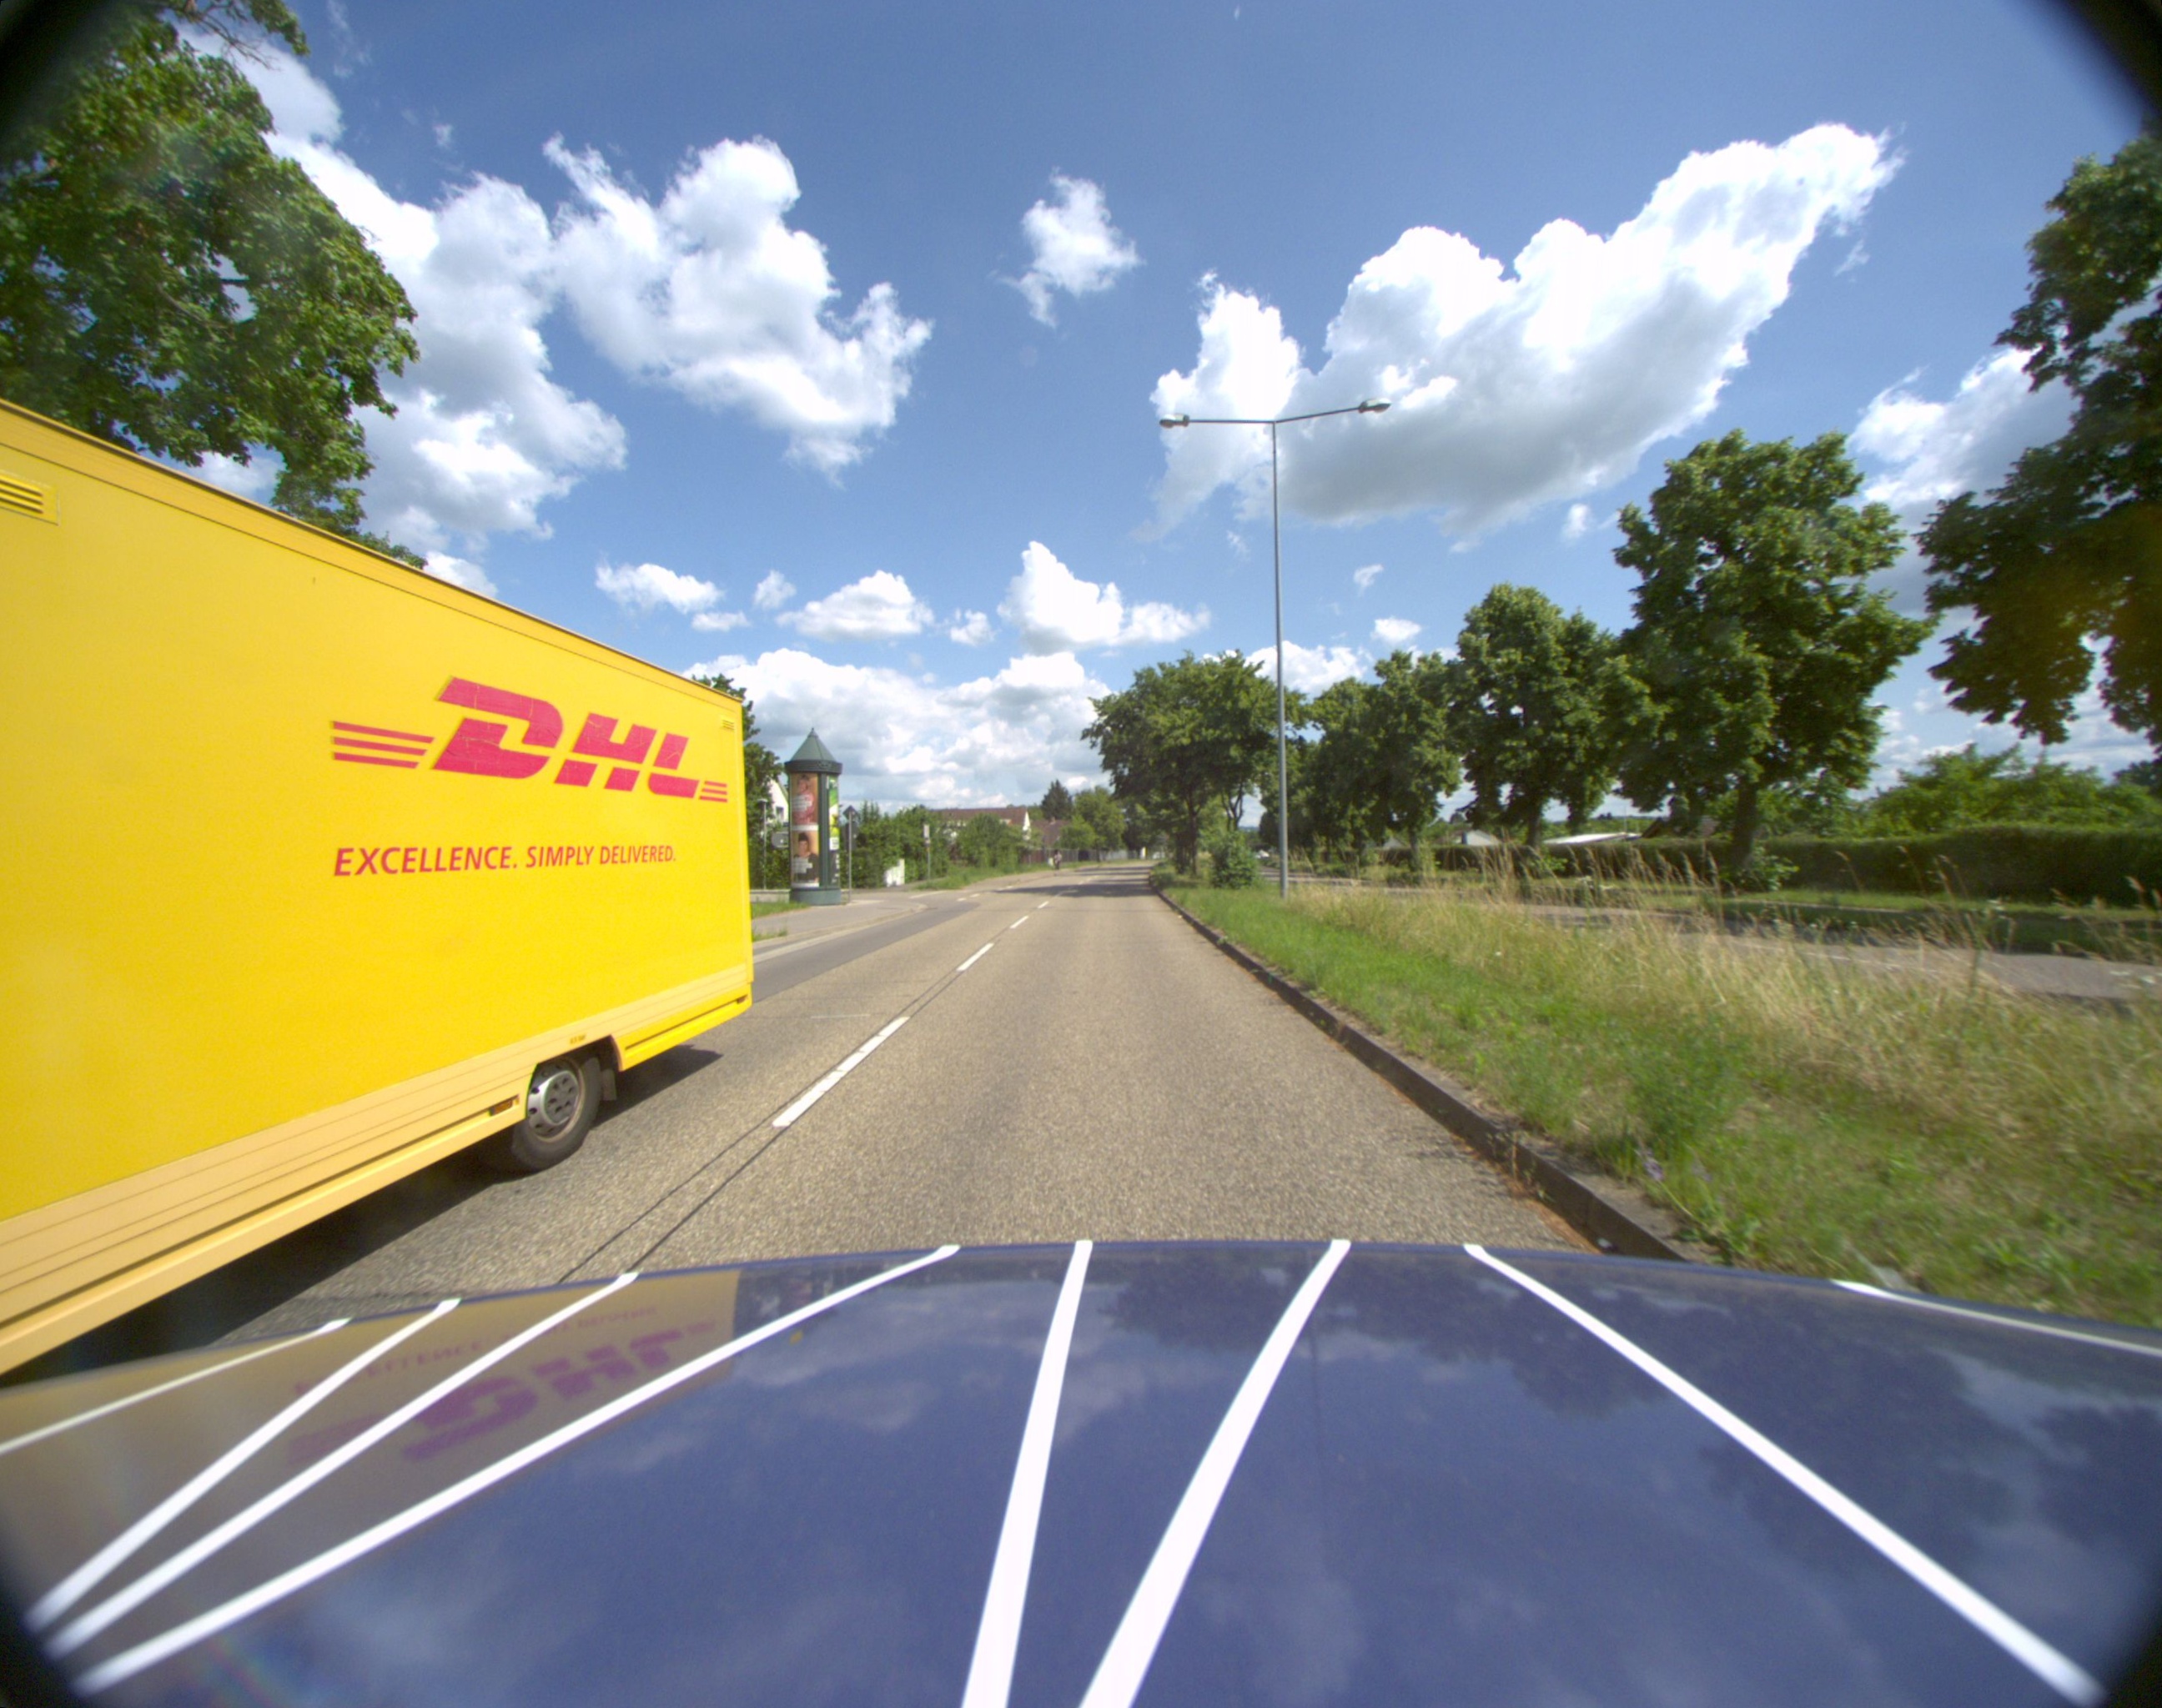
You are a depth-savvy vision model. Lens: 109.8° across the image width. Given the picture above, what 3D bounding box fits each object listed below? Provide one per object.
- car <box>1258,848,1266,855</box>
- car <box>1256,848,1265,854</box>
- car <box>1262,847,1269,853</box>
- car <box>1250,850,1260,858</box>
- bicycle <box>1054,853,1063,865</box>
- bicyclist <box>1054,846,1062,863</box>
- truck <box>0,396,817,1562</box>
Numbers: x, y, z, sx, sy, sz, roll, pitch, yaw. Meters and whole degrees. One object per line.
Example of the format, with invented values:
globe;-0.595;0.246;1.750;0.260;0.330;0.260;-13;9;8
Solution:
car;46.235;-0.639;193.934;1.739;1.577;4.117;1;1;16
car;42.564;-0.725;179.959;1.739;1.577;4.117;1;1;16
car;54.520;-1.241;224.640;1.739;1.577;4.117;1;1;16
car;33.724;-0.071;147.267;1.739;1.577;4.116;1;1;14
bicycle;-2.189;0.466;73.210;0.626;1.146;1.740;-1;1;7
bicyclist;-2.194;0.013;73.234;0.620;1.625;0.700;-1;1;7
truck;-3.774;0.316;3.210;2.270;2.864;8.027;-2;0;1
